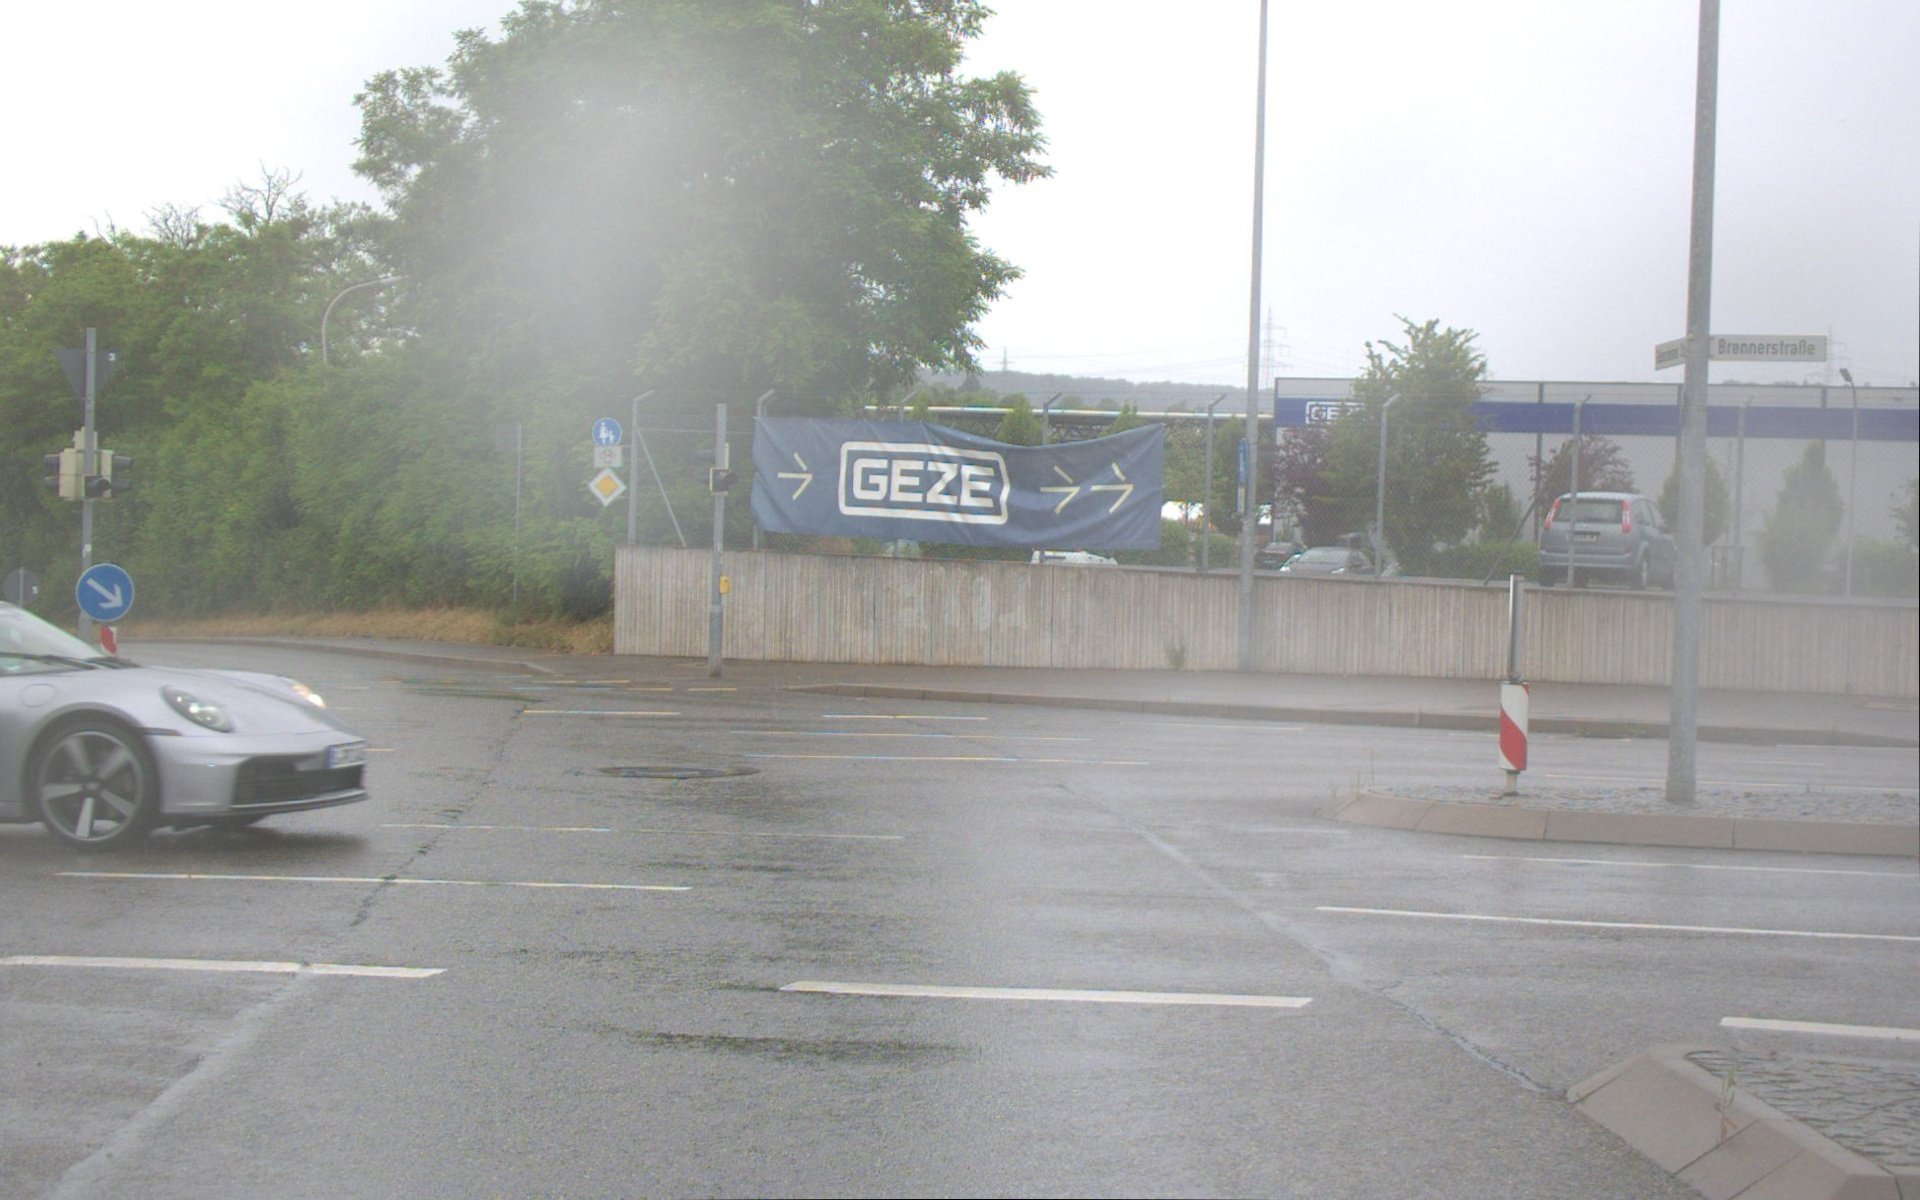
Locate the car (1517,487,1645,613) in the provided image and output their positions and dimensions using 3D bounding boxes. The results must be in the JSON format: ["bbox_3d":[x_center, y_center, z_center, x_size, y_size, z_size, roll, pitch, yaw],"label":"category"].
[{"bbox_3d":[10.443,-0.843,57.690,1.994,2.007,3.998,1,1,11],"label":"car"}]

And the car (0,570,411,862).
[{"bbox_3d":[-5.362,0.531,18.265,4.434,1.354,1.856,2,1,12],"label":"car"}]
